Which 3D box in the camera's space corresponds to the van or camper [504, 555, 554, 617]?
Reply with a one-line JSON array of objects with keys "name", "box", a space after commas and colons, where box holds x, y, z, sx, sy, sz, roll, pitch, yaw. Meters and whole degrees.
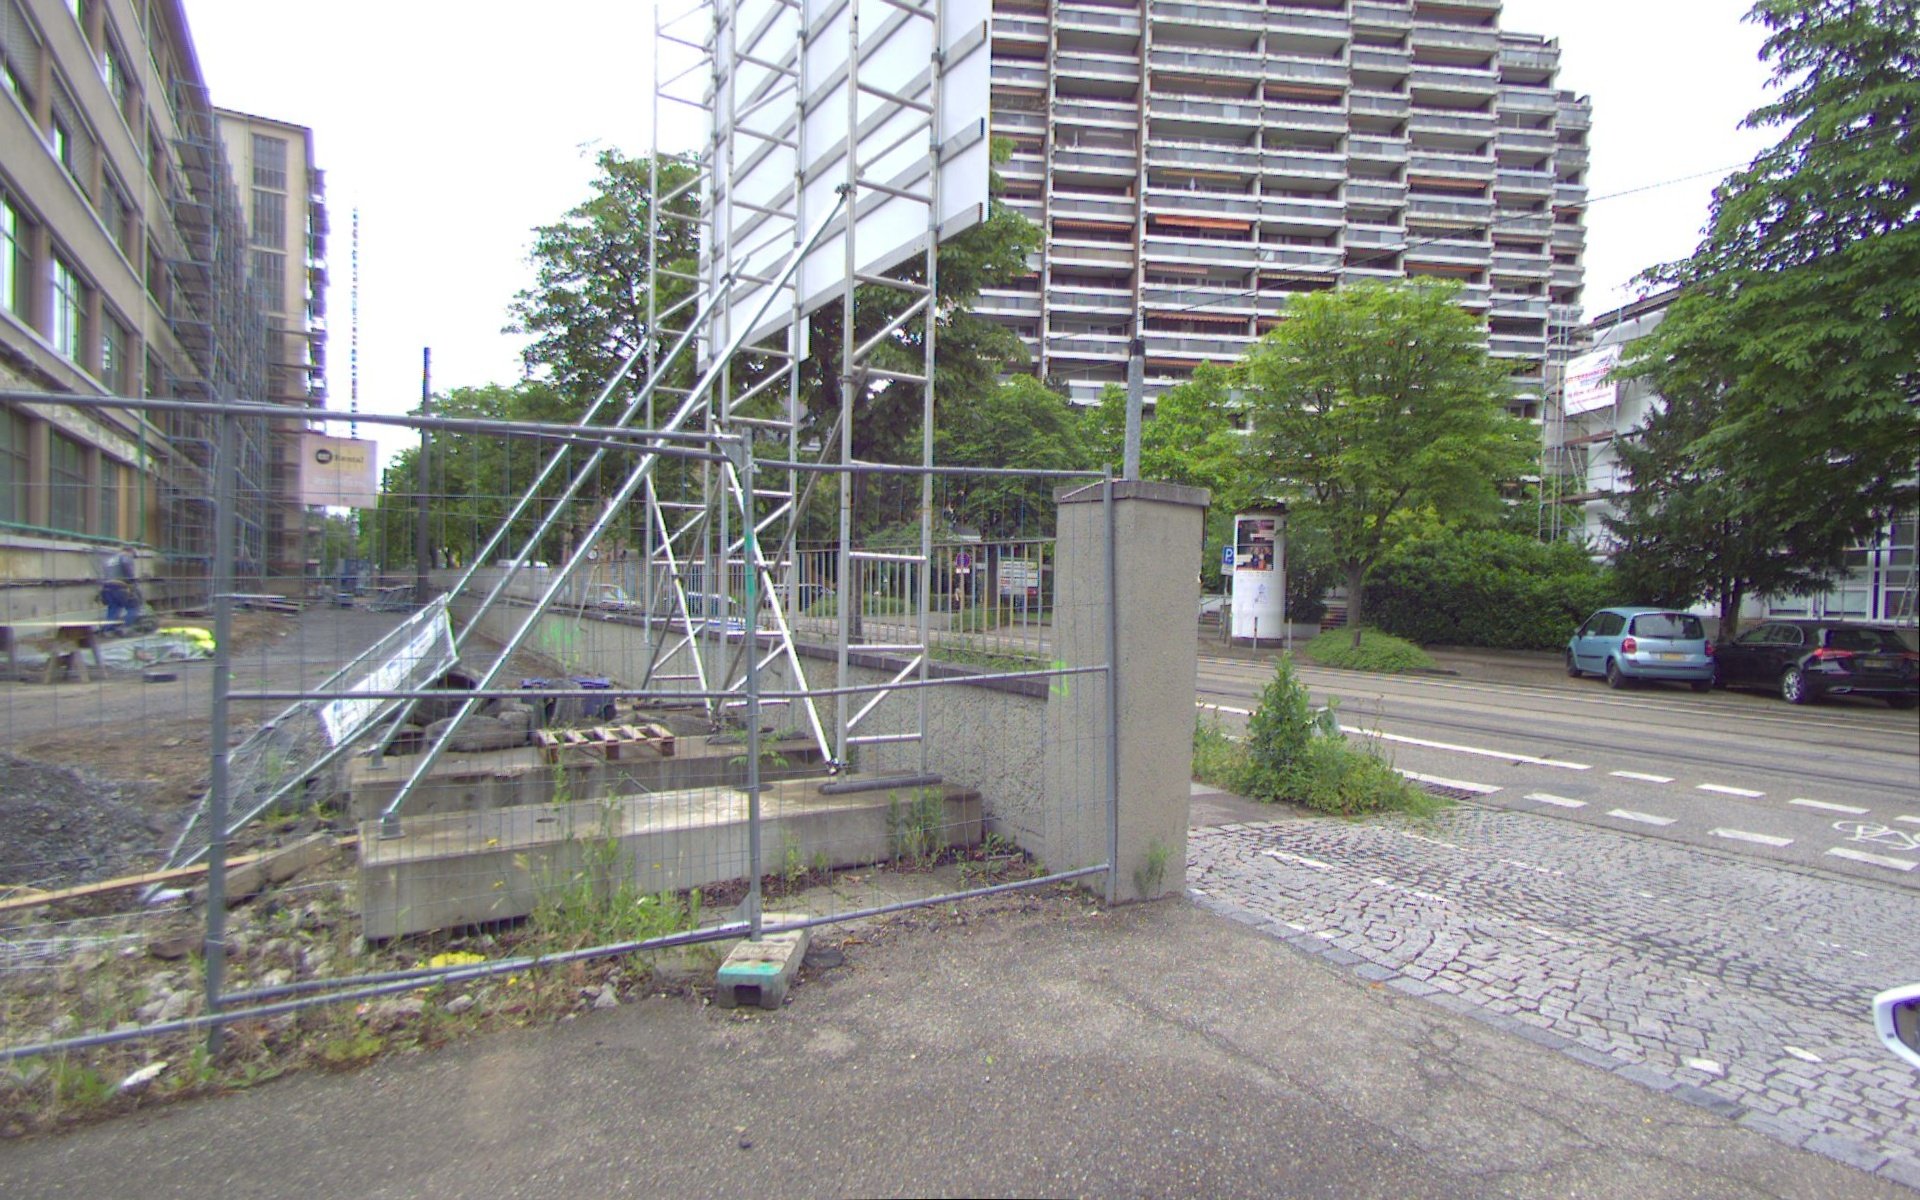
[{"name": "van or camper", "box": [-20.801, -0.676, 48.410, 1.974, 2.789, 3.973, 1, 0, -26]}]

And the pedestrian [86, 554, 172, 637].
[{"name": "pedestrian", "box": [-15.139, -0.081, 18.337, 0.970, 1.457, 0.925, 2, 0, -25]}]

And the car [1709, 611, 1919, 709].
[{"name": "car", "box": [15.248, 0.992, 18.084, 1.586, 1.531, 3.339, 2, 0, 13]}]

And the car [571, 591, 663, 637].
[{"name": "car", "box": [-11.183, 0.435, 32.601, 1.978, 1.328, 3.965, 1, 1, -32]}]

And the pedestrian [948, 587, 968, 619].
[{"name": "pedestrian", "box": [-0.075, 0.140, 49.990, 0.838, 1.548, 0.515, 1, 1, -44]}]

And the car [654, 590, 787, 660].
[{"name": "car", "box": [-5.637, 0.525, 23.309, 1.813, 1.437, 3.965, 1, 0, -32]}]

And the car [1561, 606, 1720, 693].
[{"name": "car", "box": [13.785, 0.931, 20.559, 1.586, 1.557, 3.339, 2, 0, 13]}]
